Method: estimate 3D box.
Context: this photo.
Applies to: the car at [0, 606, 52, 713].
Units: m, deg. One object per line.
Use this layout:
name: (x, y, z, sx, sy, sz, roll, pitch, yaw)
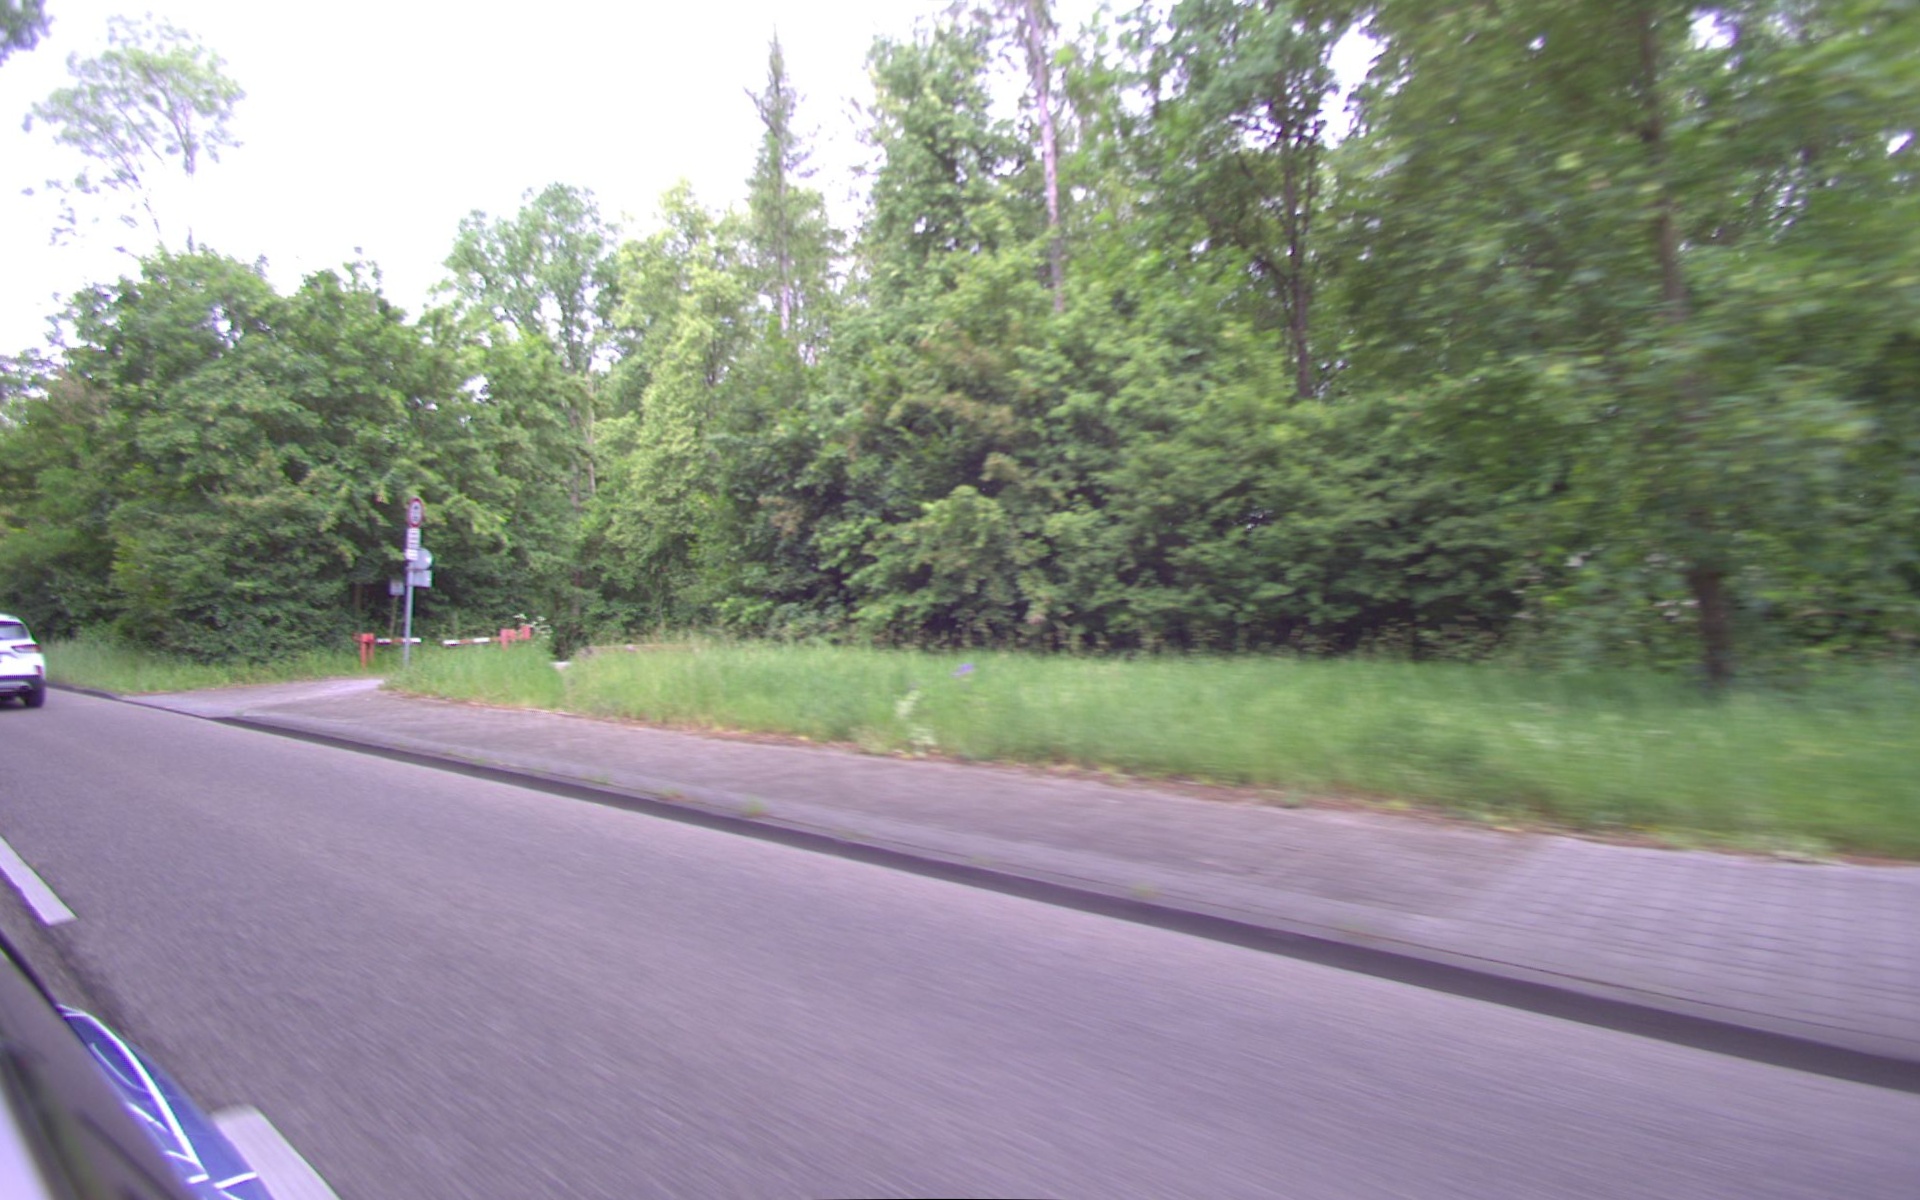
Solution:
car: (-17.839, 1.000, 17.988, 4.779, 1.766, 1.973, -1, 0, 41)
